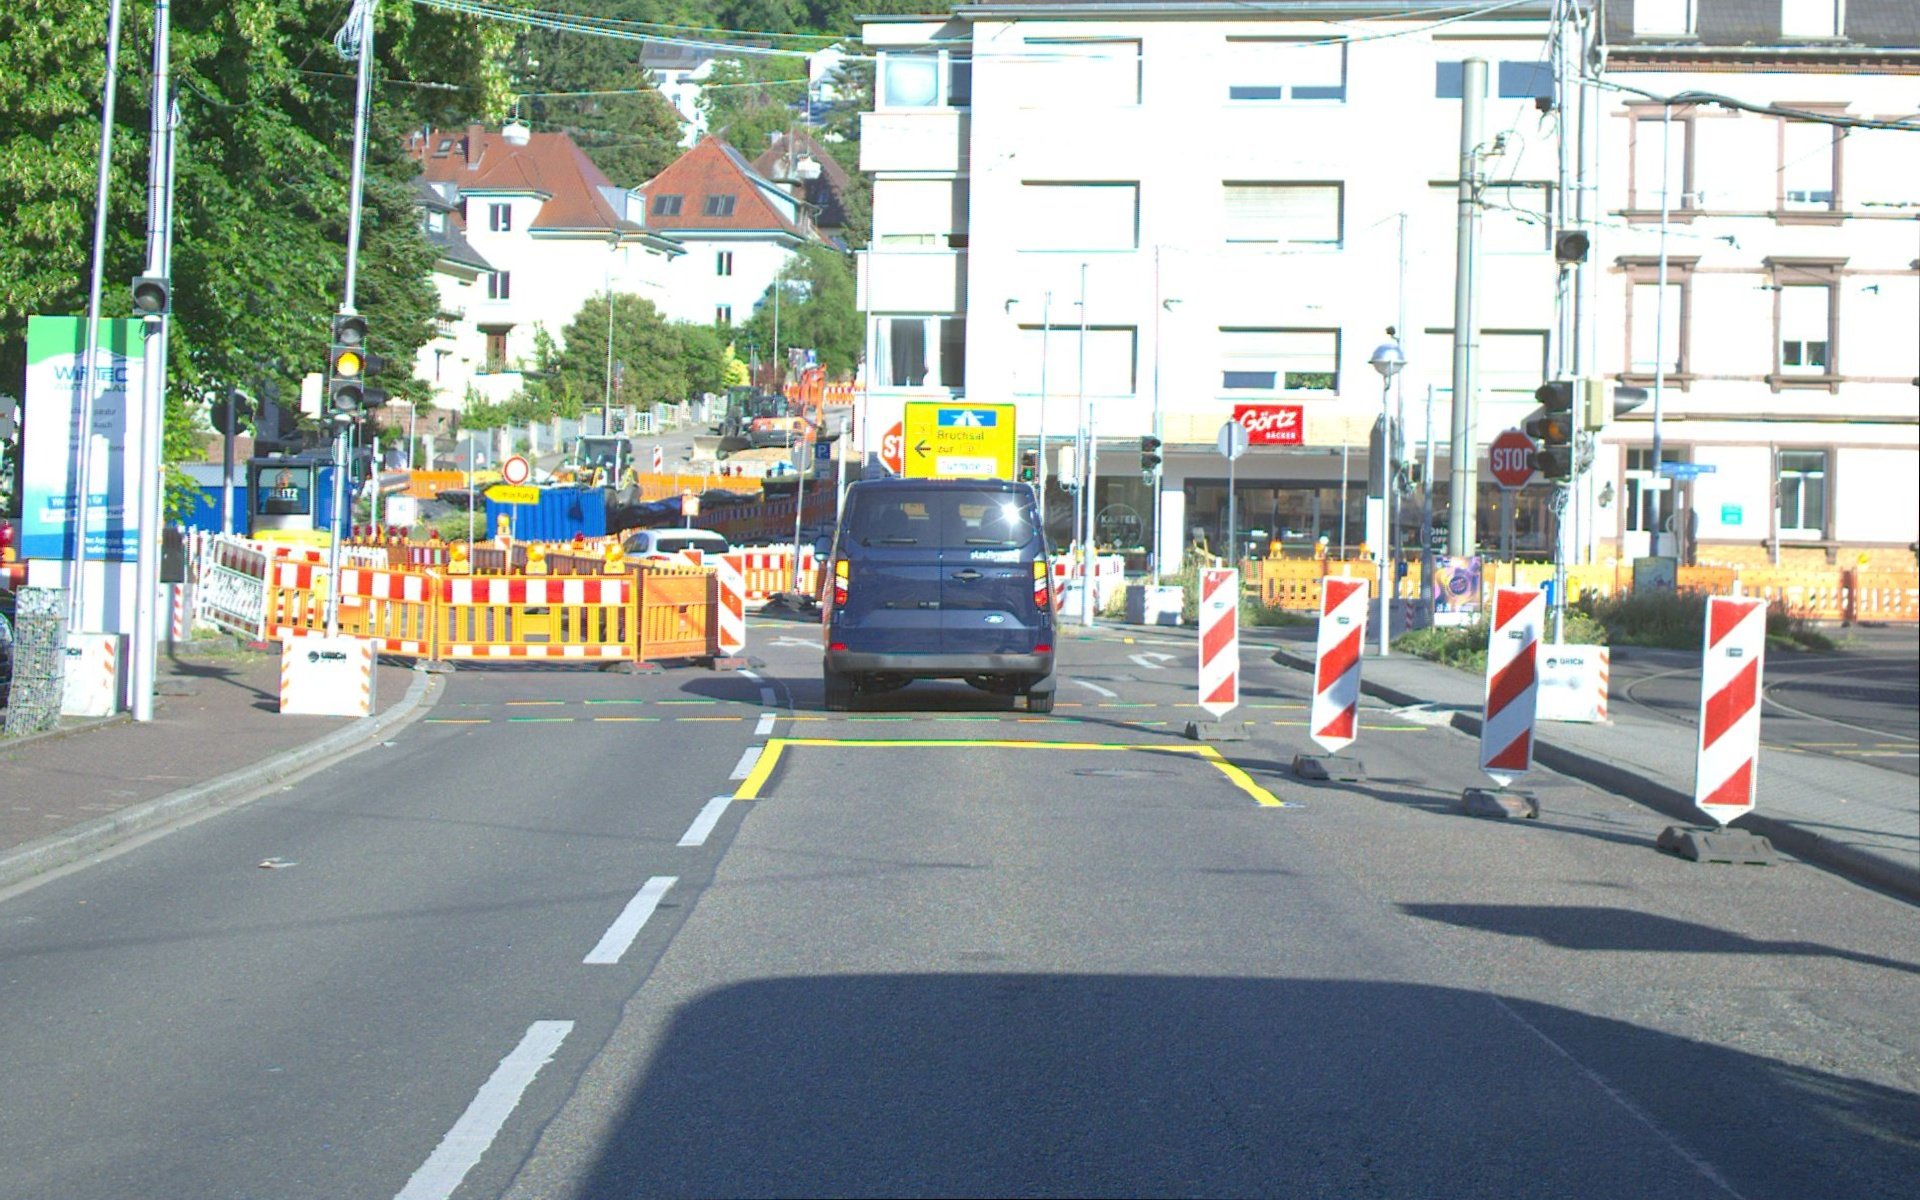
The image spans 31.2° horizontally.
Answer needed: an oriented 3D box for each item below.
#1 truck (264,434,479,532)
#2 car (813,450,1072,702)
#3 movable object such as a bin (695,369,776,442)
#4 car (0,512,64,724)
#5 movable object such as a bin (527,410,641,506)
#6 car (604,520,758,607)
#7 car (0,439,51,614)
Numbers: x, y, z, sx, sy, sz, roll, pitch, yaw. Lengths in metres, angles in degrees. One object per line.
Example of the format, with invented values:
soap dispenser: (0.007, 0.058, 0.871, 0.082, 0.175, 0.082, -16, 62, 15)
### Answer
truck: (-15.413, -3.028, 90.767, 2.357, 2.407, 9.147, 1, 1, 12)
car: (-0.157, -0.206, 30.650, 2.062, 2.007, 5.000, 2, 0, 0)
movable object such as a bin: (-8.843, -7.664, 135.701, 2.192, 2.681, 3.998, 1, 1, 11)
car: (-8.458, 0.027, 24.862, 1.906, 1.449, 4.311, 1, 2, -44)
movable object such as a bin: (-11.034, -4.159, 101.232, 2.192, 2.681, 3.998, 1, 1, 11)
car: (-4.758, -0.637, 58.087, 1.793, 1.405, 4.001, 1, 1, -17)
car: (-9.802, -0.718, 29.731, 4.296, 1.449, 1.646, 4, 2, 43)
